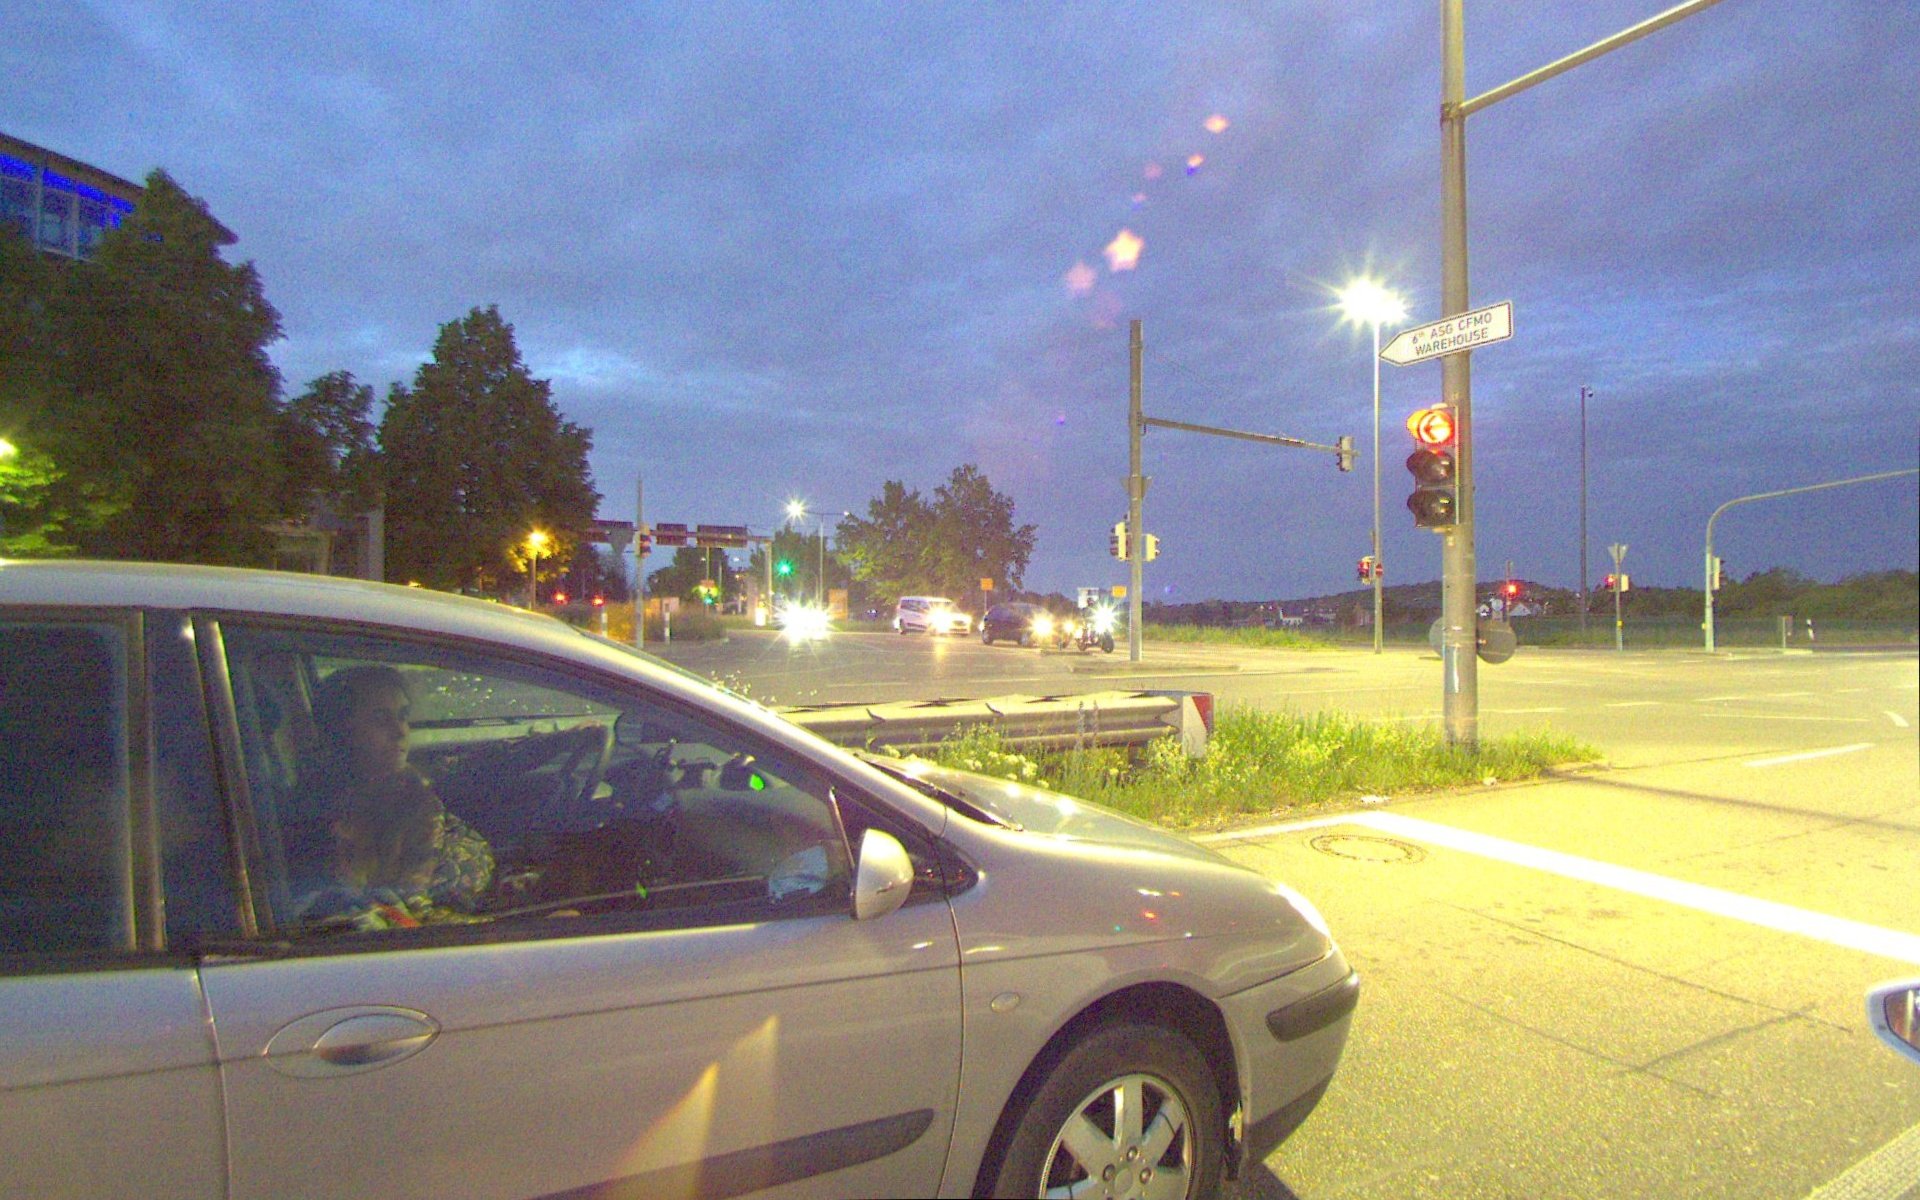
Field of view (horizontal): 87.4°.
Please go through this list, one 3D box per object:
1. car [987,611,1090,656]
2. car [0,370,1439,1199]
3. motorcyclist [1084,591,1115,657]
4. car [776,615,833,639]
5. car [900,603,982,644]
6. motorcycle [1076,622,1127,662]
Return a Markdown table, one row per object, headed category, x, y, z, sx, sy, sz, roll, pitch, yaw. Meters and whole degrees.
| category | x | y | z | sx | sy | sz | roll | pitch | yaw |
| --- | --- | --- | --- | --- | --- | --- | --- | --- | --- |
| car | 2.635 | 1.119 | 34.617 | 1.754 | 1.467 | 3.751 | 1 | -1 | -30 |
| car | -1.153 | 0.578 | 2.053 | 4.358 | 1.675 | 1.658 | 1 | 0 | -30 |
| motorcyclist | 4.368 | 0.746 | 31.386 | 0.628 | 2.040 | 0.763 | 1 | 0 | -25 |
| car | -9.645 | 1.629 | 61.960 | 1.856 | 1.416 | 4.798 | 2 | -1 | -31 |
| car | -0.943 | 1.070 | 46.961 | 1.827 | 1.838 | 4.737 | 1 | -1 | -29 |
| motorcycle | 4.364 | 1.278 | 31.120 | 0.664 | 1.179 | 1.797 | 1 | 0 | -25 |
